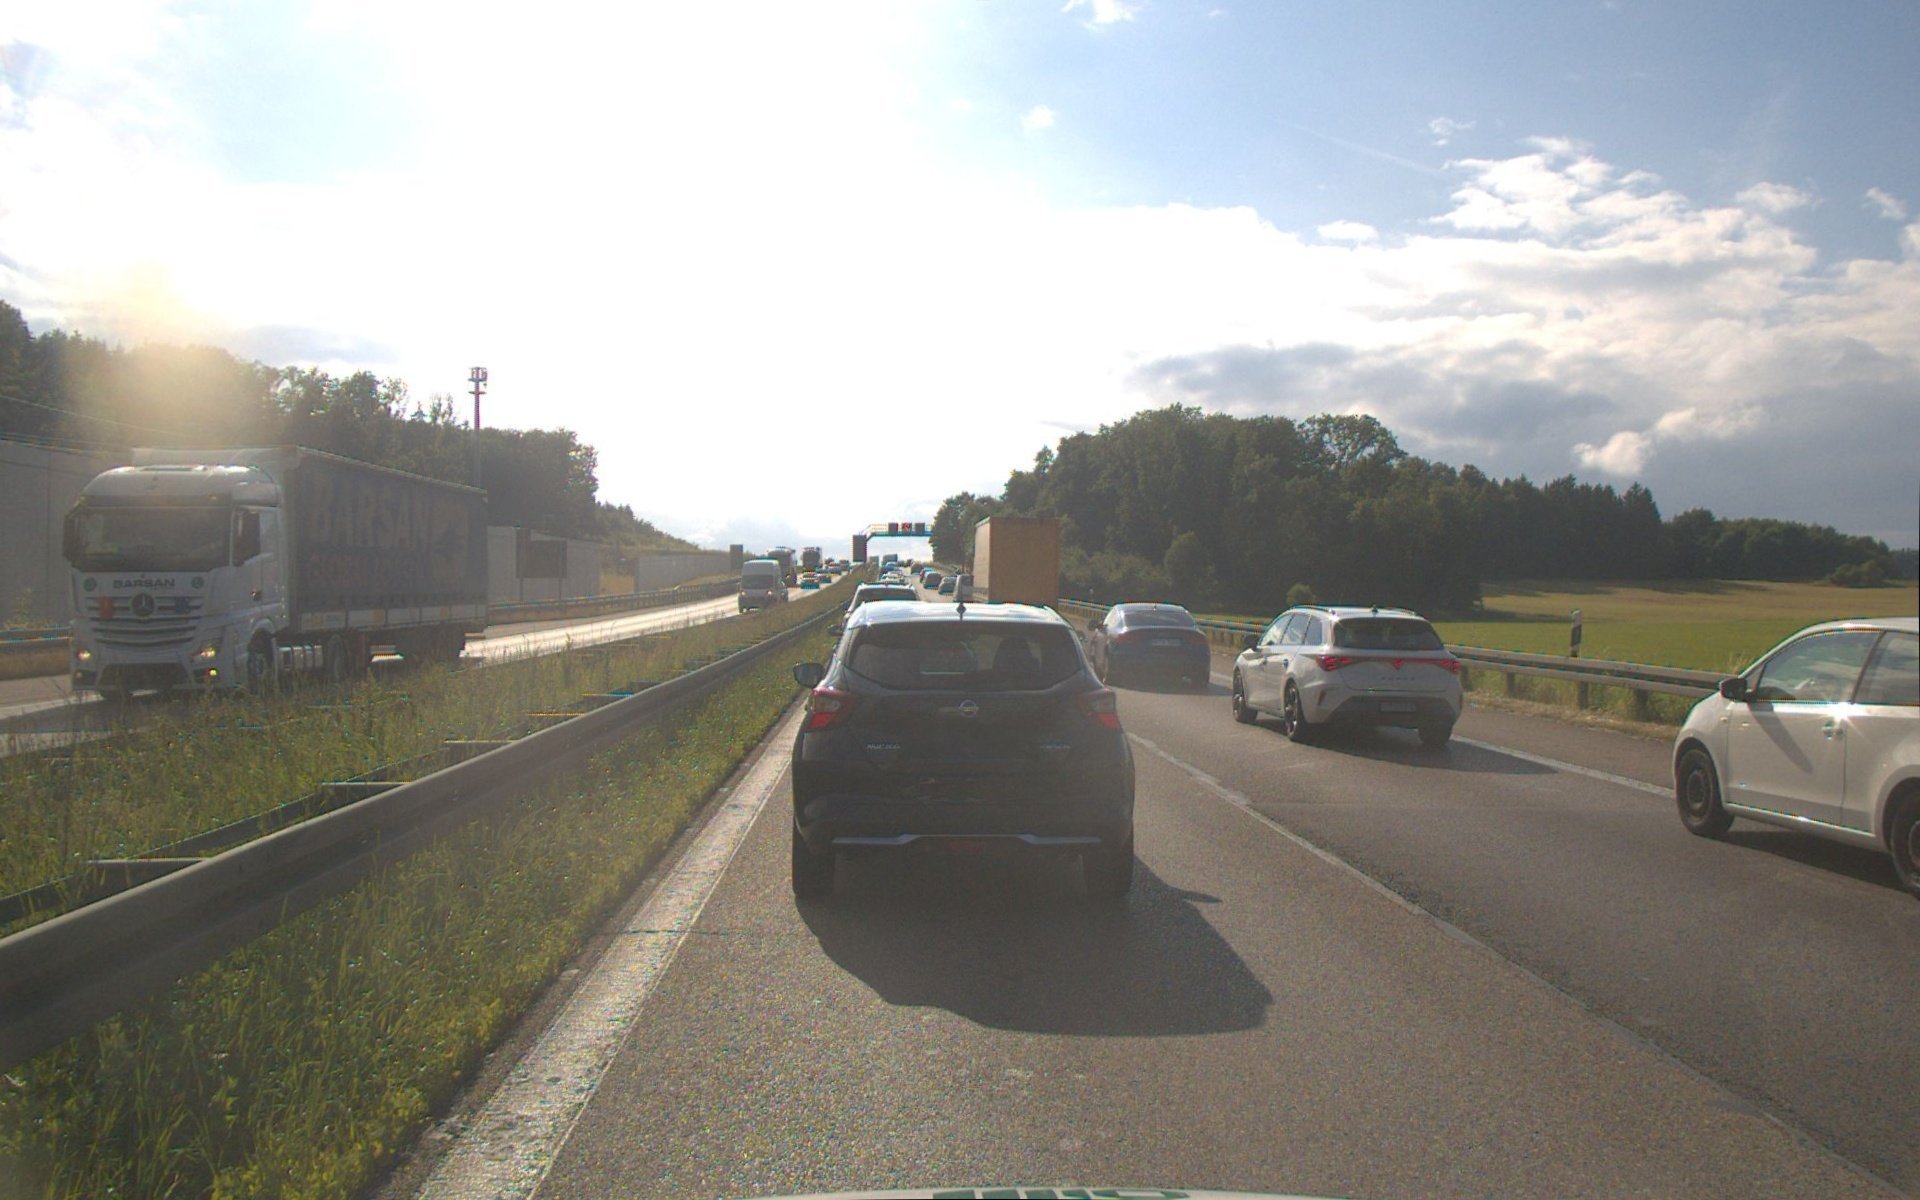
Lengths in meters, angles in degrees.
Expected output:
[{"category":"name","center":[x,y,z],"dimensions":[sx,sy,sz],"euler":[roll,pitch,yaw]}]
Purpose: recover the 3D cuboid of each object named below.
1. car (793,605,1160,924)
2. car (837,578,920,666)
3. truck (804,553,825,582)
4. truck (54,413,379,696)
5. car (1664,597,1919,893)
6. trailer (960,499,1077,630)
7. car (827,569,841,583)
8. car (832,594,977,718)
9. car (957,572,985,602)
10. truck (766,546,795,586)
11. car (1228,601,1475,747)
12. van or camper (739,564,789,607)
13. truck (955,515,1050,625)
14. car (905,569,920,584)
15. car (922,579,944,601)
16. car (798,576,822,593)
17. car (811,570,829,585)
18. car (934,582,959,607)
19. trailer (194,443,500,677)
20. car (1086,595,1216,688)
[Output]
[{"category":"car","center":[0.055,0.770,9.320],"dimensions":[1.675,1.451,3.377],"euler":[1,0,-1]},{"category":"car","center":[-1.682,0.456,35.058],"dimensions":[1.640,1.756,3.595],"euler":[1,0,-1]},{"category":"truck","center":[-21.849,-4.817,248.721],"dimensions":[2.699,4.162,6.950],"euler":[0,0,-2]},{"category":"truck","center":[-12.292,-0.666,28.140],"dimensions":[2.585,4.169,6.998],"euler":[1,0,-3]},{"category":"car","center":[5.723,0.775,9.757],"dimensions":[1.518,1.521,3.375],"euler":[1,1,-4]},{"category":"trailer","center":[2.065,-1.224,64.684],"dimensions":[3.478,4.535,12.714],"euler":[1,0,-3]},{"category":"car","center":[-17.979,-3.463,236.220],"dimensions":[1.822,1.866,4.279],"euler":[1,0,-2]},{"category":"car","center":[-0.676,0.651,20.761],"dimensions":[1.640,1.391,3.595],"euler":[1,0,-1]},{"category":"car","center":[0.654,-0.783,103.100],"dimensions":[1.633,1.785,3.326],"euler":[1,0,-1]},{"category":"truck","center":[-18.367,-3.476,169.741],"dimensions":[2.501,3.865,5.415],"euler":[-1,0,-2]},{"category":"car","center":[4.313,0.763,18.866],"dimensions":[1.588,1.471,4.143],"euler":[1,0,-4]},{"category":"van or camper","center":[-10.810,-0.774,91.601],"dimensions":[2.122,2.244,6.257],"euler":[1,0,-1]},{"category":"truck","center":[1.741,-1.209,71.364],"dimensions":[3.511,4.456,6.684],"euler":[1,0,-3]},{"category":"car","center":[-6.619,-3.218,229.033],"dimensions":[1.954,2.049,3.997],"euler":[1,0,-3]},{"category":"car","center":[-2.639,-0.964,159.918],"dimensions":[1.954,2.049,3.997],"euler":[1,0,-3]},{"category":"car","center":[-14.532,-1.485,160.275],"dimensions":[1.953,1.512,4.397],"euler":[1,0,-1]},{"category":"car","center":[-15.767,-2.539,186.262],"dimensions":[1.767,1.543,4.689],"euler":[1,0,-1]},{"category":"car","center":[-1.185,-0.459,141.632],"dimensions":[1.954,2.049,3.997],"euler":[1,0,-3]},{"category":"trailer","center":[-12.692,-0.690,35.795],"dimensions":[2.601,4.152,12.388],"euler":[1,0,-3]},{"category":"car","center":[3.302,0.691,29.287],"dimensions":[1.712,1.501,4.145],"euler":[1,0,-1]}]
